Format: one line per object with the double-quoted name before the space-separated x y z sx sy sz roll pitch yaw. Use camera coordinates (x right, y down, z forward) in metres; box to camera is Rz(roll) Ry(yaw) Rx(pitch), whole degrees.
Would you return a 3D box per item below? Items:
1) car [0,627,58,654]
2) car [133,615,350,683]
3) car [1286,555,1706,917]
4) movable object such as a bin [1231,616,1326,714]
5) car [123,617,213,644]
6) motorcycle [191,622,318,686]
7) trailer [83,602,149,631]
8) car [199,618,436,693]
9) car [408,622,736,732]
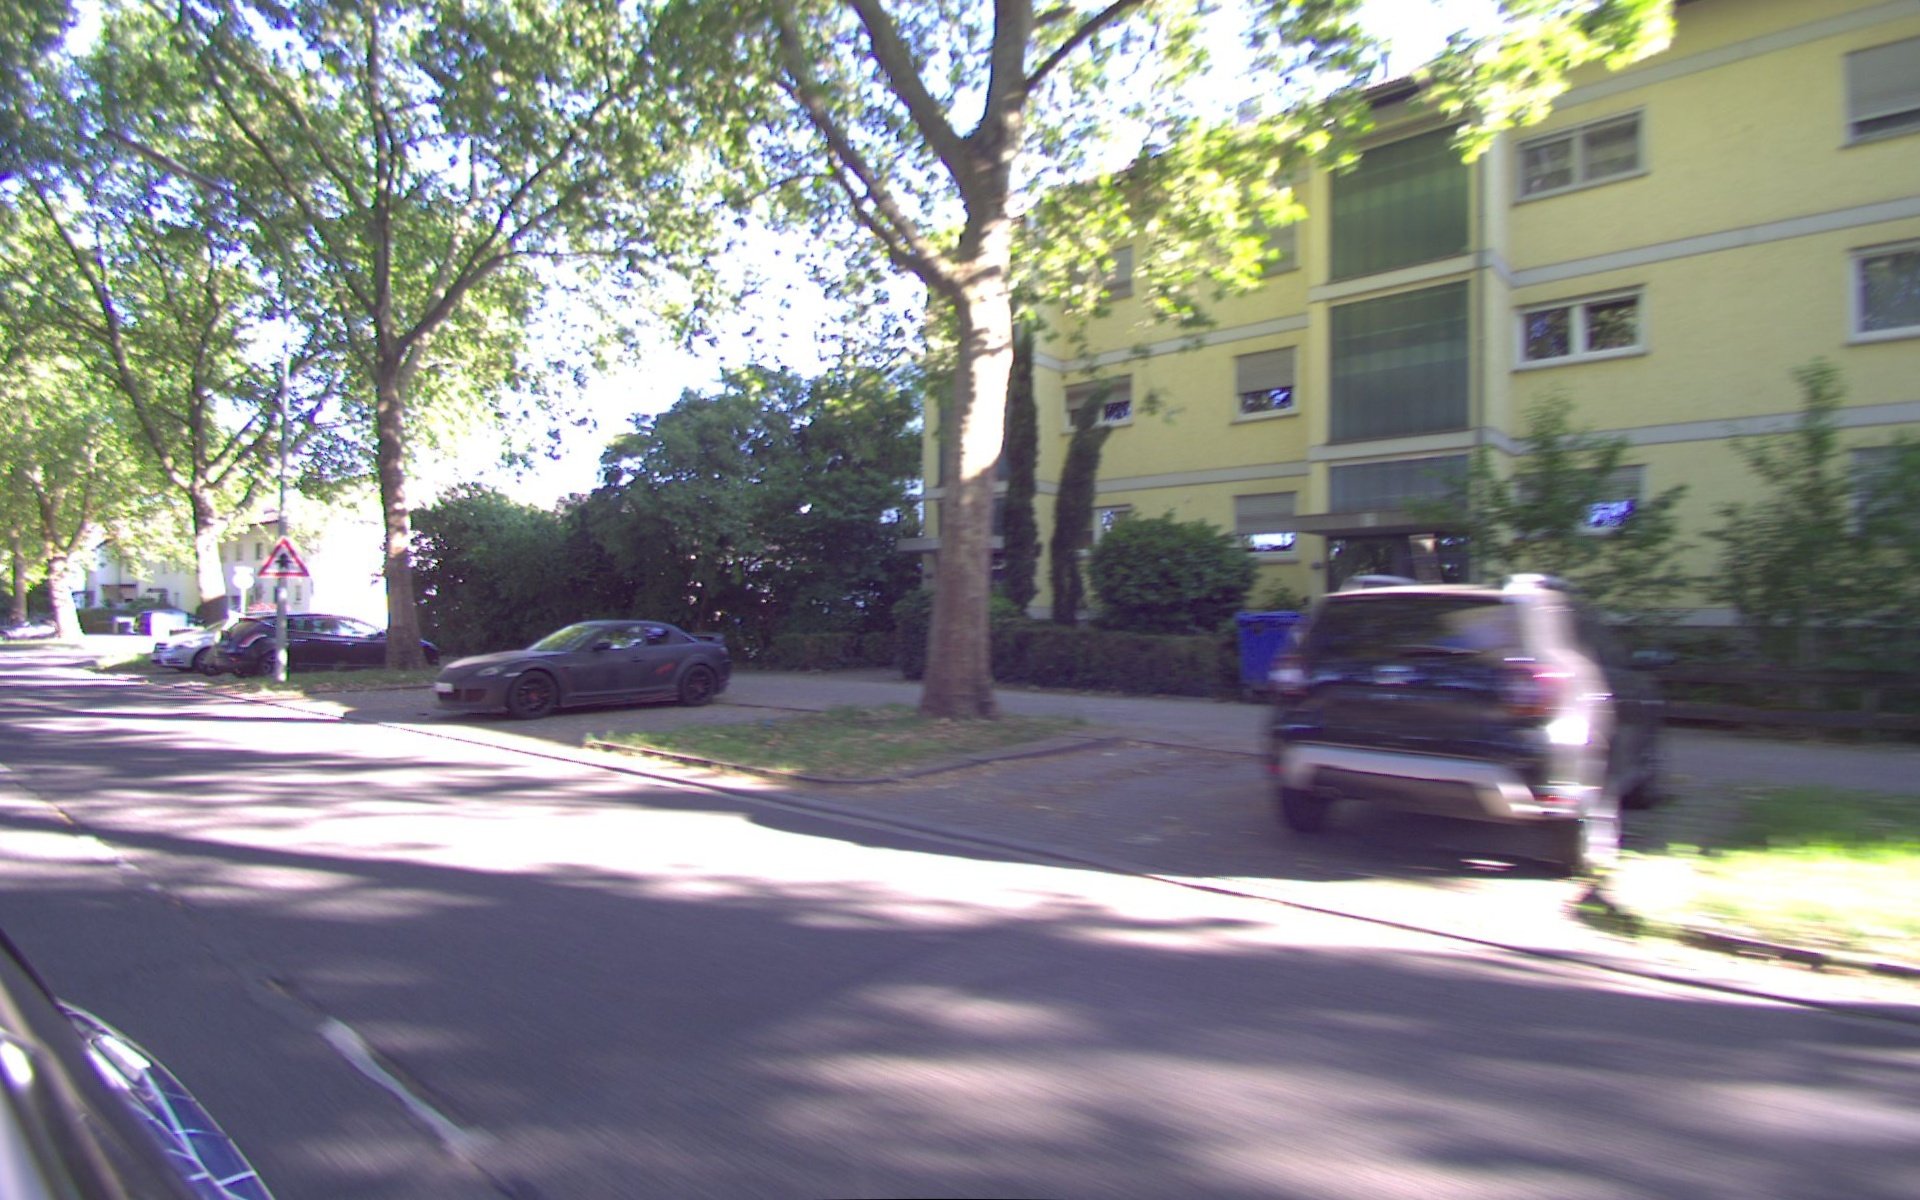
"car" -46.979 1.967 49.636 1.787 1.326 3.789 -1 -2 37
"car" -18.310 1.188 25.957 1.996 1.596 4.146 -1 -2 36
"car" 3.874 0.684 6.906 1.670 1.693 4.200 -1 -2 40
"movable object such as a bin" 4.694 0.927 14.901 0.953 1.360 1.173 -1 -2 41
"car" -47.813 1.832 61.136 1.899 1.475 3.948 -2 -1 39
"motorcycle" -16.466 1.229 23.700 0.647 1.399 2.364 -2 -2 35
"trailer" -62.858 1.204 75.408 1.640 1.940 3.423 -3 1 36
"car" -14.246 1.173 22.646 1.799 1.518 4.122 -1 -2 37
"car" -5.515 1.034 14.855 1.739 1.363 4.199 -1 -2 39
